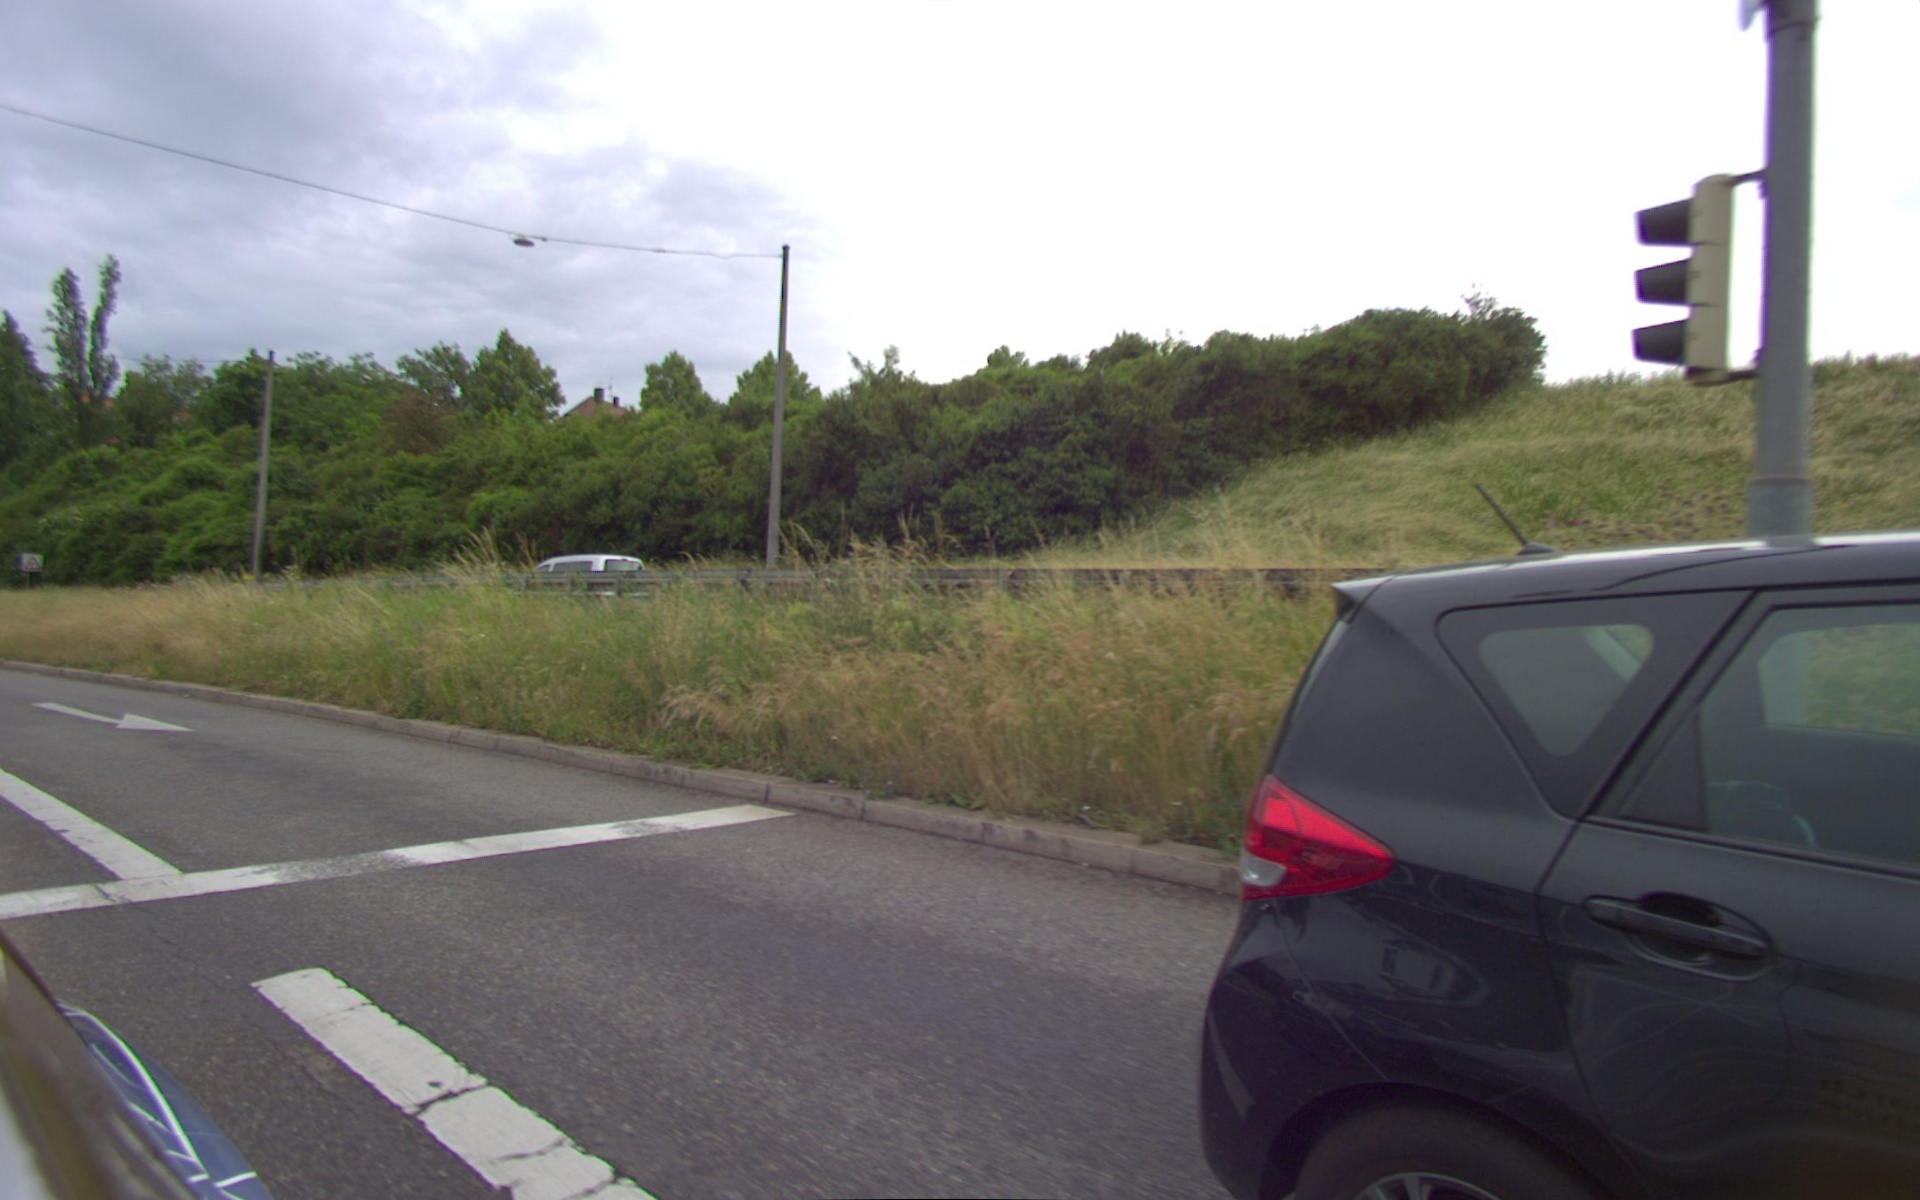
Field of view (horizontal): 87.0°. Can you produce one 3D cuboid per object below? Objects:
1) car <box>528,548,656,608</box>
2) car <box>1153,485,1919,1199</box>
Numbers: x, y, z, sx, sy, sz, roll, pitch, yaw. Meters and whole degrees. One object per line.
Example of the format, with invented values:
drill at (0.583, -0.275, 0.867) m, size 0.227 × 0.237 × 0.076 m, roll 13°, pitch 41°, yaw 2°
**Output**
car at (-9.453, -0.551, 25.951) m, size 3.222 × 1.443 × 1.543 m, roll 0°, pitch 1°, yaw 35°
car at (2.473, 0.607, 1.238) m, size 4.042 × 1.577 × 1.777 m, roll -1°, pitch 1°, yaw 42°
